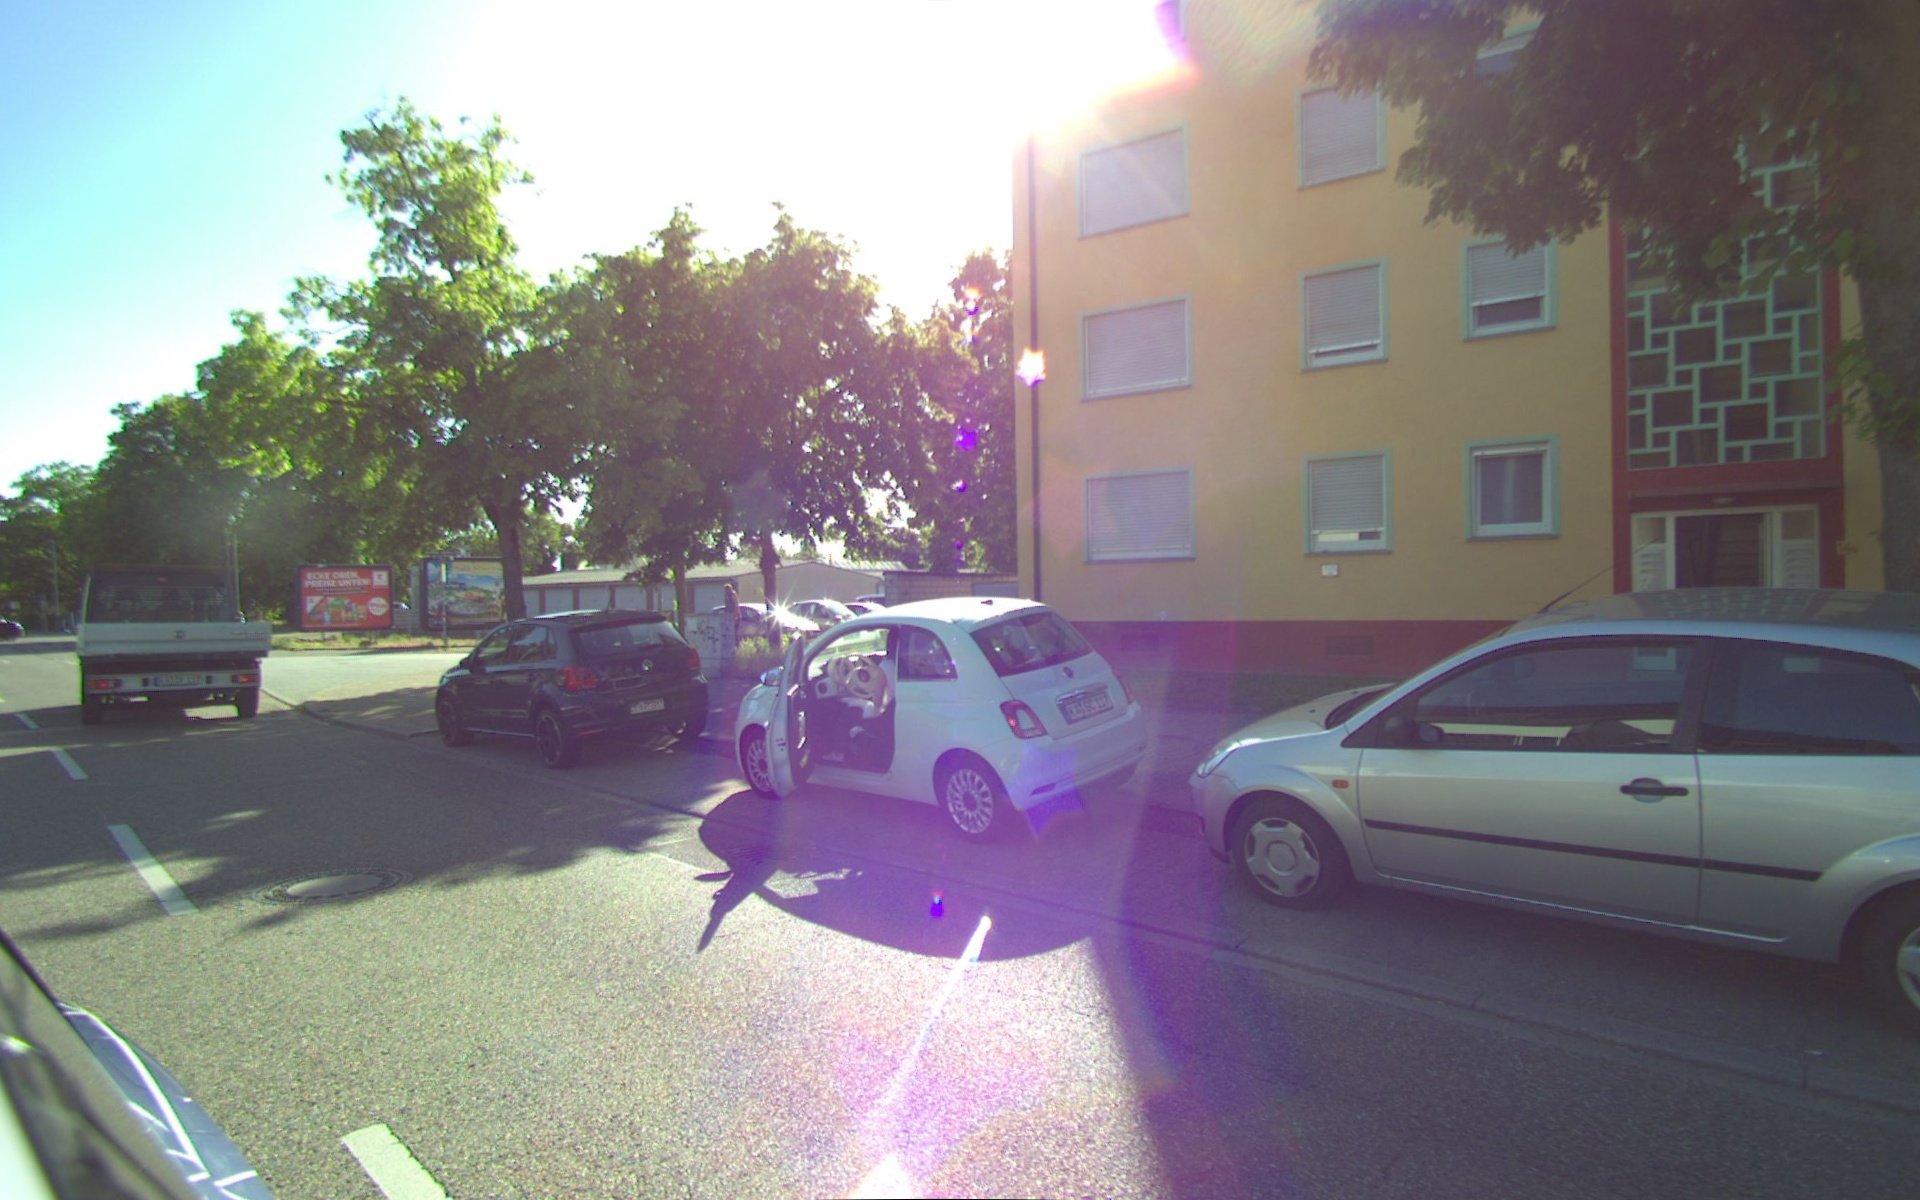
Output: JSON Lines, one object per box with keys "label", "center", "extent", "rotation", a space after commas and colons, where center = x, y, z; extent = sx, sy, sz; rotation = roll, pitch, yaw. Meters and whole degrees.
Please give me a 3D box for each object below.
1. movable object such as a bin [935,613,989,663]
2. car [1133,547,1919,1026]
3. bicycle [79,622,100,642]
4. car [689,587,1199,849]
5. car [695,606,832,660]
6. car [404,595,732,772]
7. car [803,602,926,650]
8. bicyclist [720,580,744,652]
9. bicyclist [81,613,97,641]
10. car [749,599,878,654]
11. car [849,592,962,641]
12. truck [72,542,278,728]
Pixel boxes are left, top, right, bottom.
{"label": "movable object such as a bin", "center": [0.040, 0.724, 19.367], "extent": [0.744, 0.917, 0.690], "rotation": [-2, -1, 35]}
{"label": "car", "center": [2.951, 0.598, 4.617], "extent": [4.002, 1.521, 1.639], "rotation": [-1, 3, 45]}
{"label": "bicycle", "center": [-52.130, 1.910, 60.589], "extent": [2.023, 1.150, 0.522], "rotation": [-2, 0, 38]}
{"label": "car", "center": [-0.337, 0.679, 7.987], "extent": [1.681, 1.534, 4.055], "rotation": [1, 0, -45]}
{"label": "car", "center": [-5.897, 0.994, 30.335], "extent": [3.866, 1.475, 1.716], "rotation": [-2, -1, 31]}
{"label": "car", "center": [-4.428, 0.748, 11.134], "extent": [4.051, 1.491, 1.683], "rotation": [1, 3, 42]}
{"label": "car", "center": [-3.277, 0.881, 34.527], "extent": [3.863, 1.475, 1.687], "rotation": [-3, -1, 28]}
{"label": "bicyclist", "center": [-5.474, 0.379, 24.301], "extent": [0.378, 1.698, 0.388], "rotation": [-3, 0, 12]}
{"label": "bicyclist", "center": [-52.159, 1.623, 60.612], "extent": [0.828, 1.654, 0.536], "rotation": [-2, 0, 37]}
{"label": "car", "center": [-4.779, 0.855, 32.951], "extent": [3.863, 1.634, 1.687], "rotation": [-2, -1, 28]}
{"label": "car", "center": [-2.033, 0.615, 37.427], "extent": [3.868, 1.692, 1.685], "rotation": [-2, -1, 32]}
{"label": "truck", "center": [-12.522, 0.484, 15.918], "extent": [2.104, 2.352, 6.450], "rotation": [0, -1, -42]}
